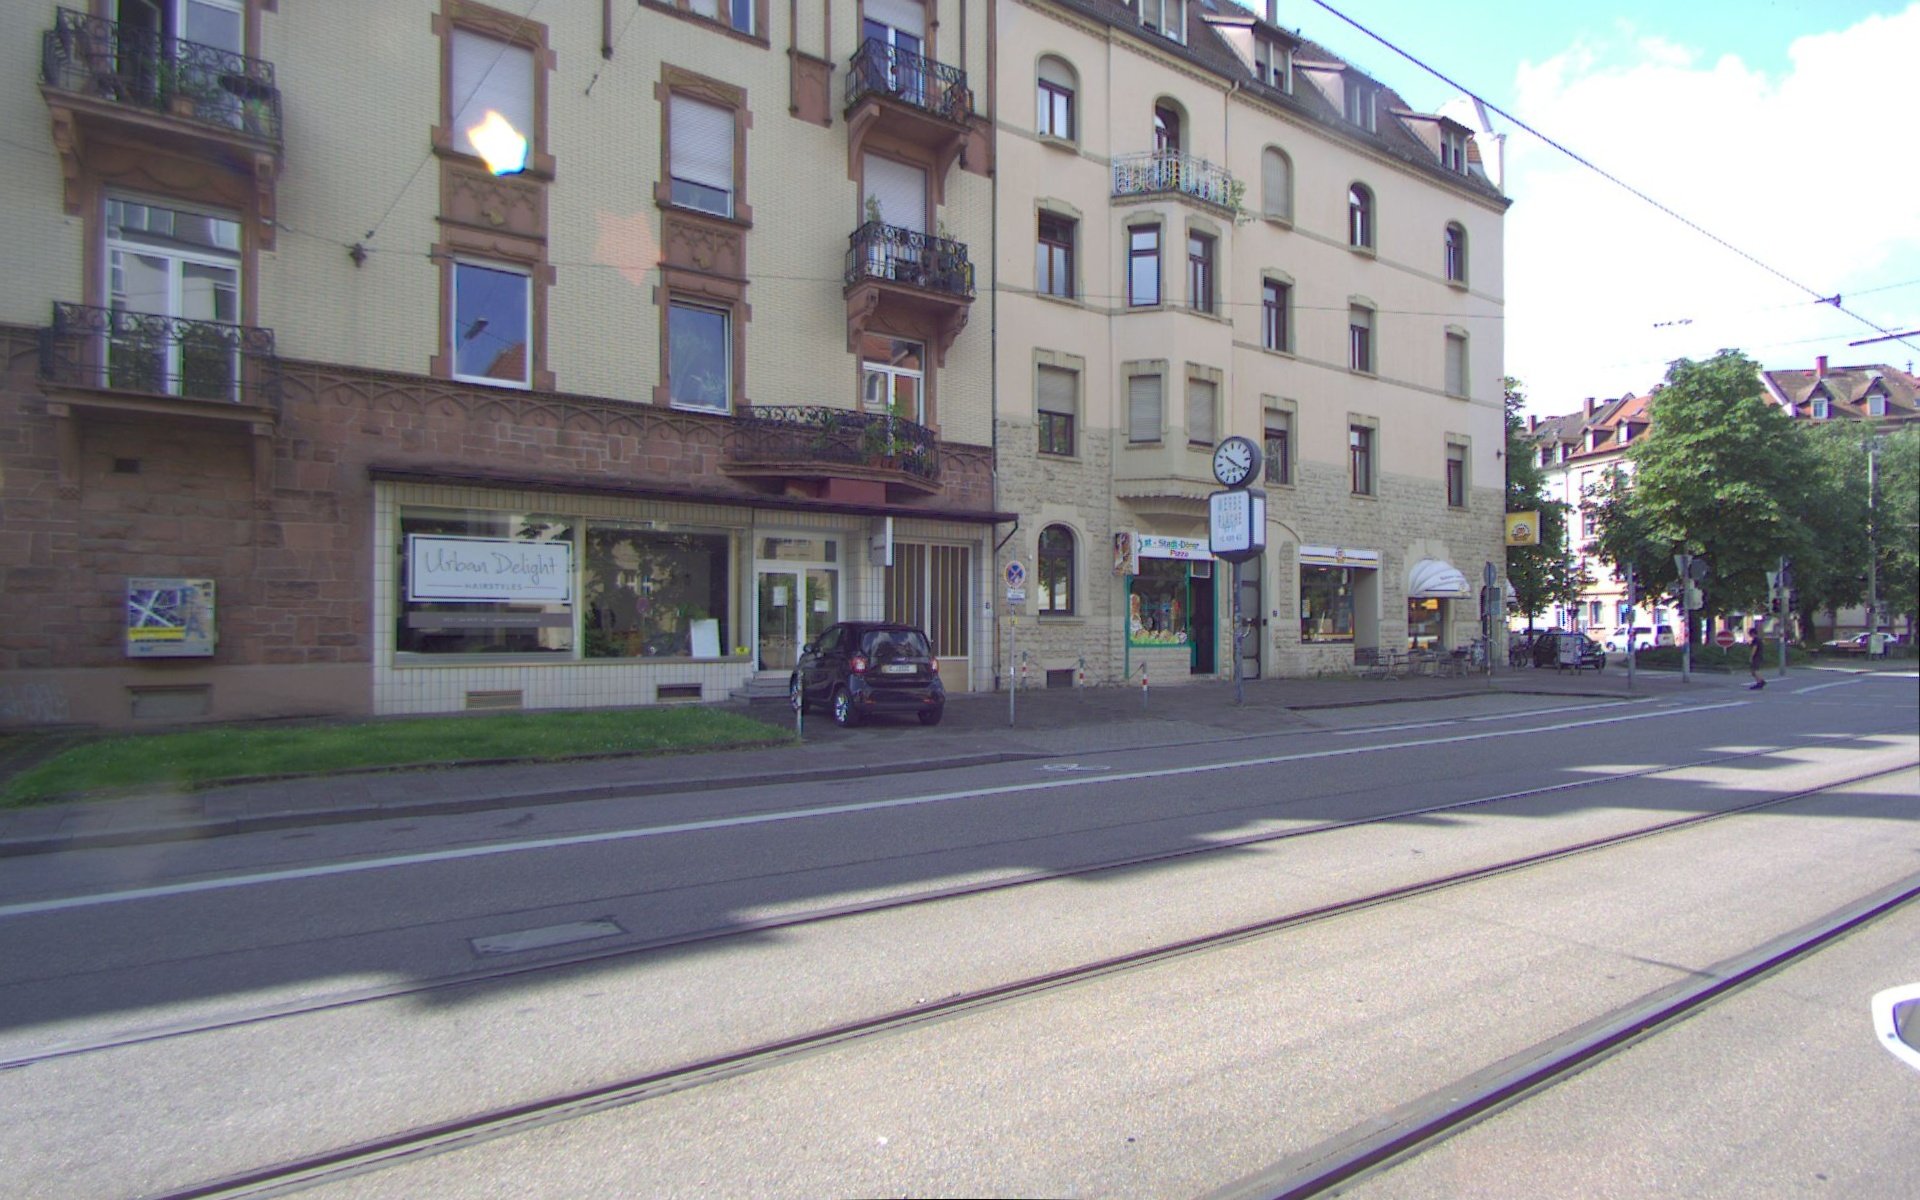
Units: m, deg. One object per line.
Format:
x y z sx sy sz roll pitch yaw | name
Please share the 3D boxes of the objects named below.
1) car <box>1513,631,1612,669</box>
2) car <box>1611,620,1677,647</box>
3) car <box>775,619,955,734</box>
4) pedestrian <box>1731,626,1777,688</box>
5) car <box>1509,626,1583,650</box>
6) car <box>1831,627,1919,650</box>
25.604 2.102 42.853 1.727 1.538 4.069 0 -2 0 | car
51.006 2.512 74.992 1.962 1.929 3.997 0 -2 -5 | car
-1.607 1.125 16.094 1.716 1.505 3.163 1 1 -30 | car
22.159 1.567 28.035 0.690 1.706 0.750 1 -1 -21 | pedestrian
40.272 2.613 69.165 1.976 1.617 3.970 1 -2 -29 | car
56.862 2.375 62.334 3.922 1.378 1.678 0 -1 22 | car
